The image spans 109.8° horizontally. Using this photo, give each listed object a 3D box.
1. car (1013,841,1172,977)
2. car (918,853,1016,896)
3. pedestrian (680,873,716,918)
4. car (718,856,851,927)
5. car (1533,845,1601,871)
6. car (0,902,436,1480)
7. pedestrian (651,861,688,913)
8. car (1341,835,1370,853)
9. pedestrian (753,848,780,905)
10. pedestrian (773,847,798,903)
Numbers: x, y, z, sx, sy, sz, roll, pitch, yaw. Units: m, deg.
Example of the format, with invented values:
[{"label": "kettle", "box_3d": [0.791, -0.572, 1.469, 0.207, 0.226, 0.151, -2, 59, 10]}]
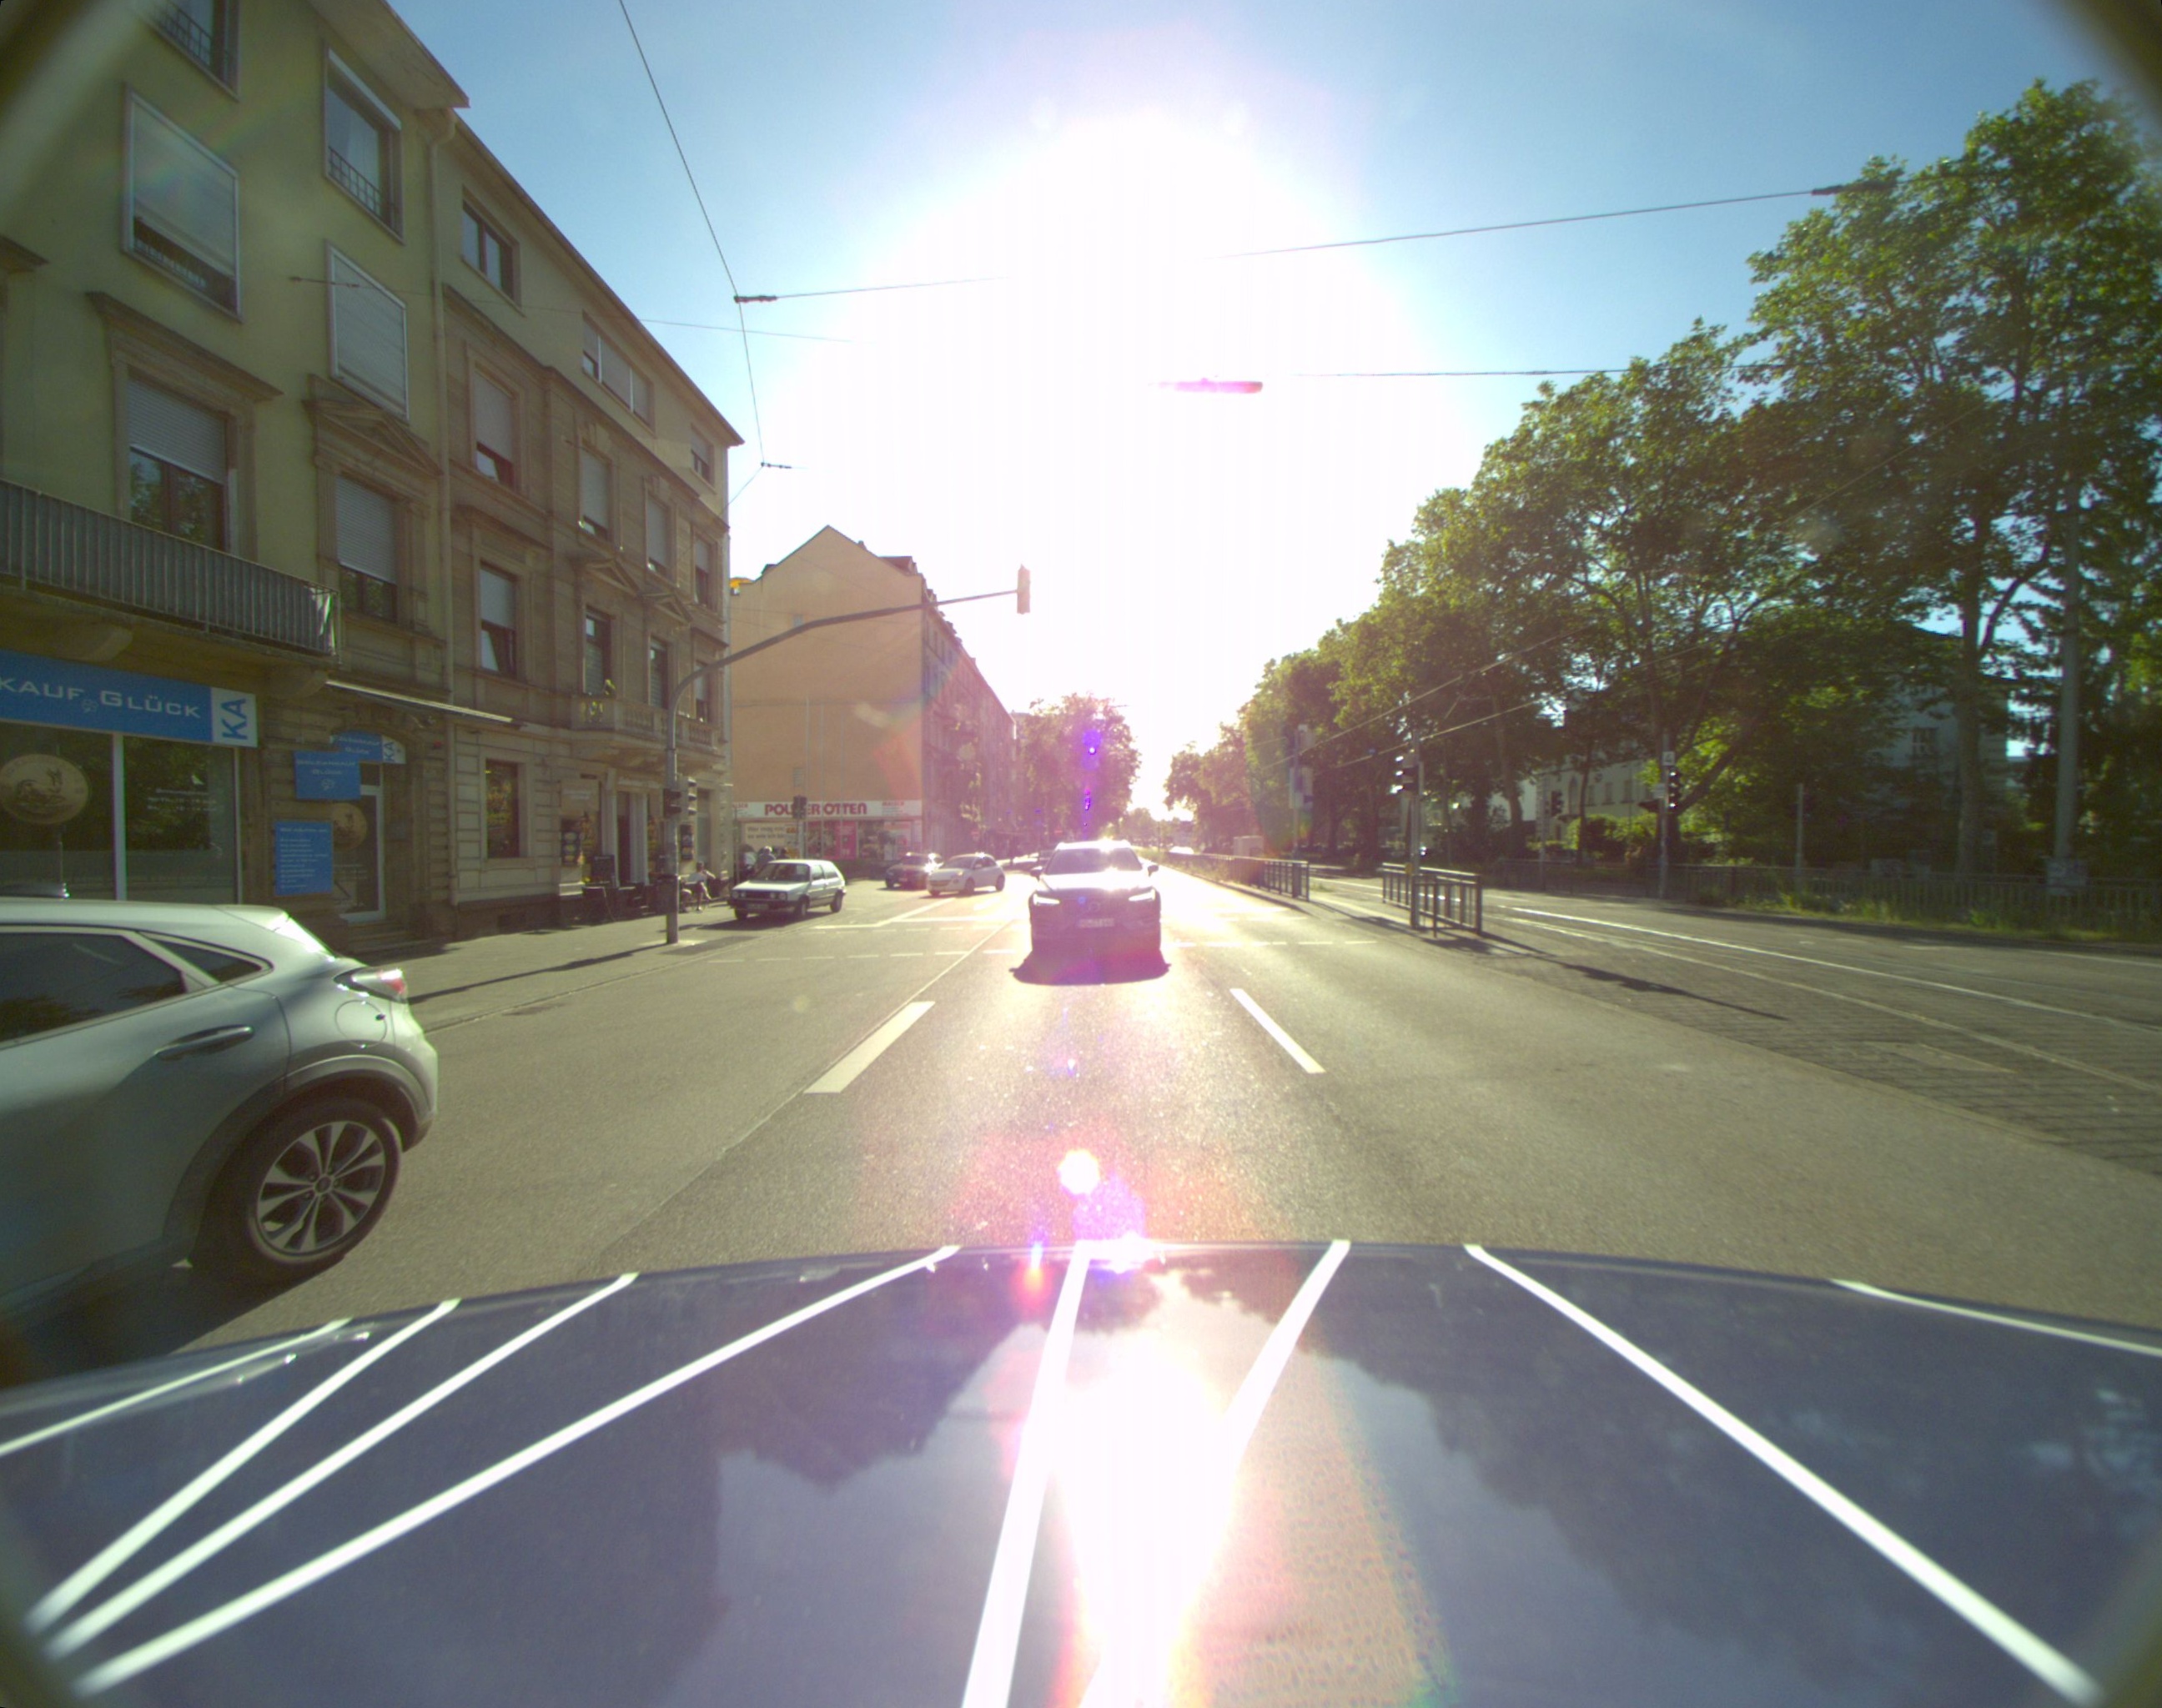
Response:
[{"label": "car", "box_3d": [0.174, 0.679, 11.695, 1.969, 1.664, 3.999, -2, 1, 1]}, {"label": "car", "box_3d": [-4.349, 0.762, 29.582, 1.813, 1.442, 4.006, -2, 1, 25]}, {"label": "pedestrian", "box_3d": [-10.088, 1.081, 20.021, 0.658, 1.164, 0.496, 0, 1, 15]}, {"label": "car", "box_3d": [-7.342, 0.853, 19.268, 1.739, 1.510, 3.999, 1, 1, 1]}, {"label": "car", "box_3d": [29.805, 0.211, 46.756, 1.722, 1.462, 3.756, -2, 1, -1]}, {"label": "car", "box_3d": [-3.826, 1.006, 1.423, 1.659, 1.473, 3.972, -2, 1, 3]}, {"label": "pedestrian", "box_3d": [-10.208, 0.809, 18.860, 0.495, 1.252, 0.660, -1, 1, 4]}, {"label": "car", "box_3d": [27.109, -0.981, 75.169, 1.745, 1.782, 3.742, 0, 0, 4]}, {"label": "pedestrian", "box_3d": [-9.923, 0.702, 23.972, 0.495, 1.752, 0.660, -2, 1, 1]}, {"label": "pedestrian", "box_3d": [-9.313, 0.646, 23.947, 0.495, 1.752, 0.660, -1, 1, 1]}]
